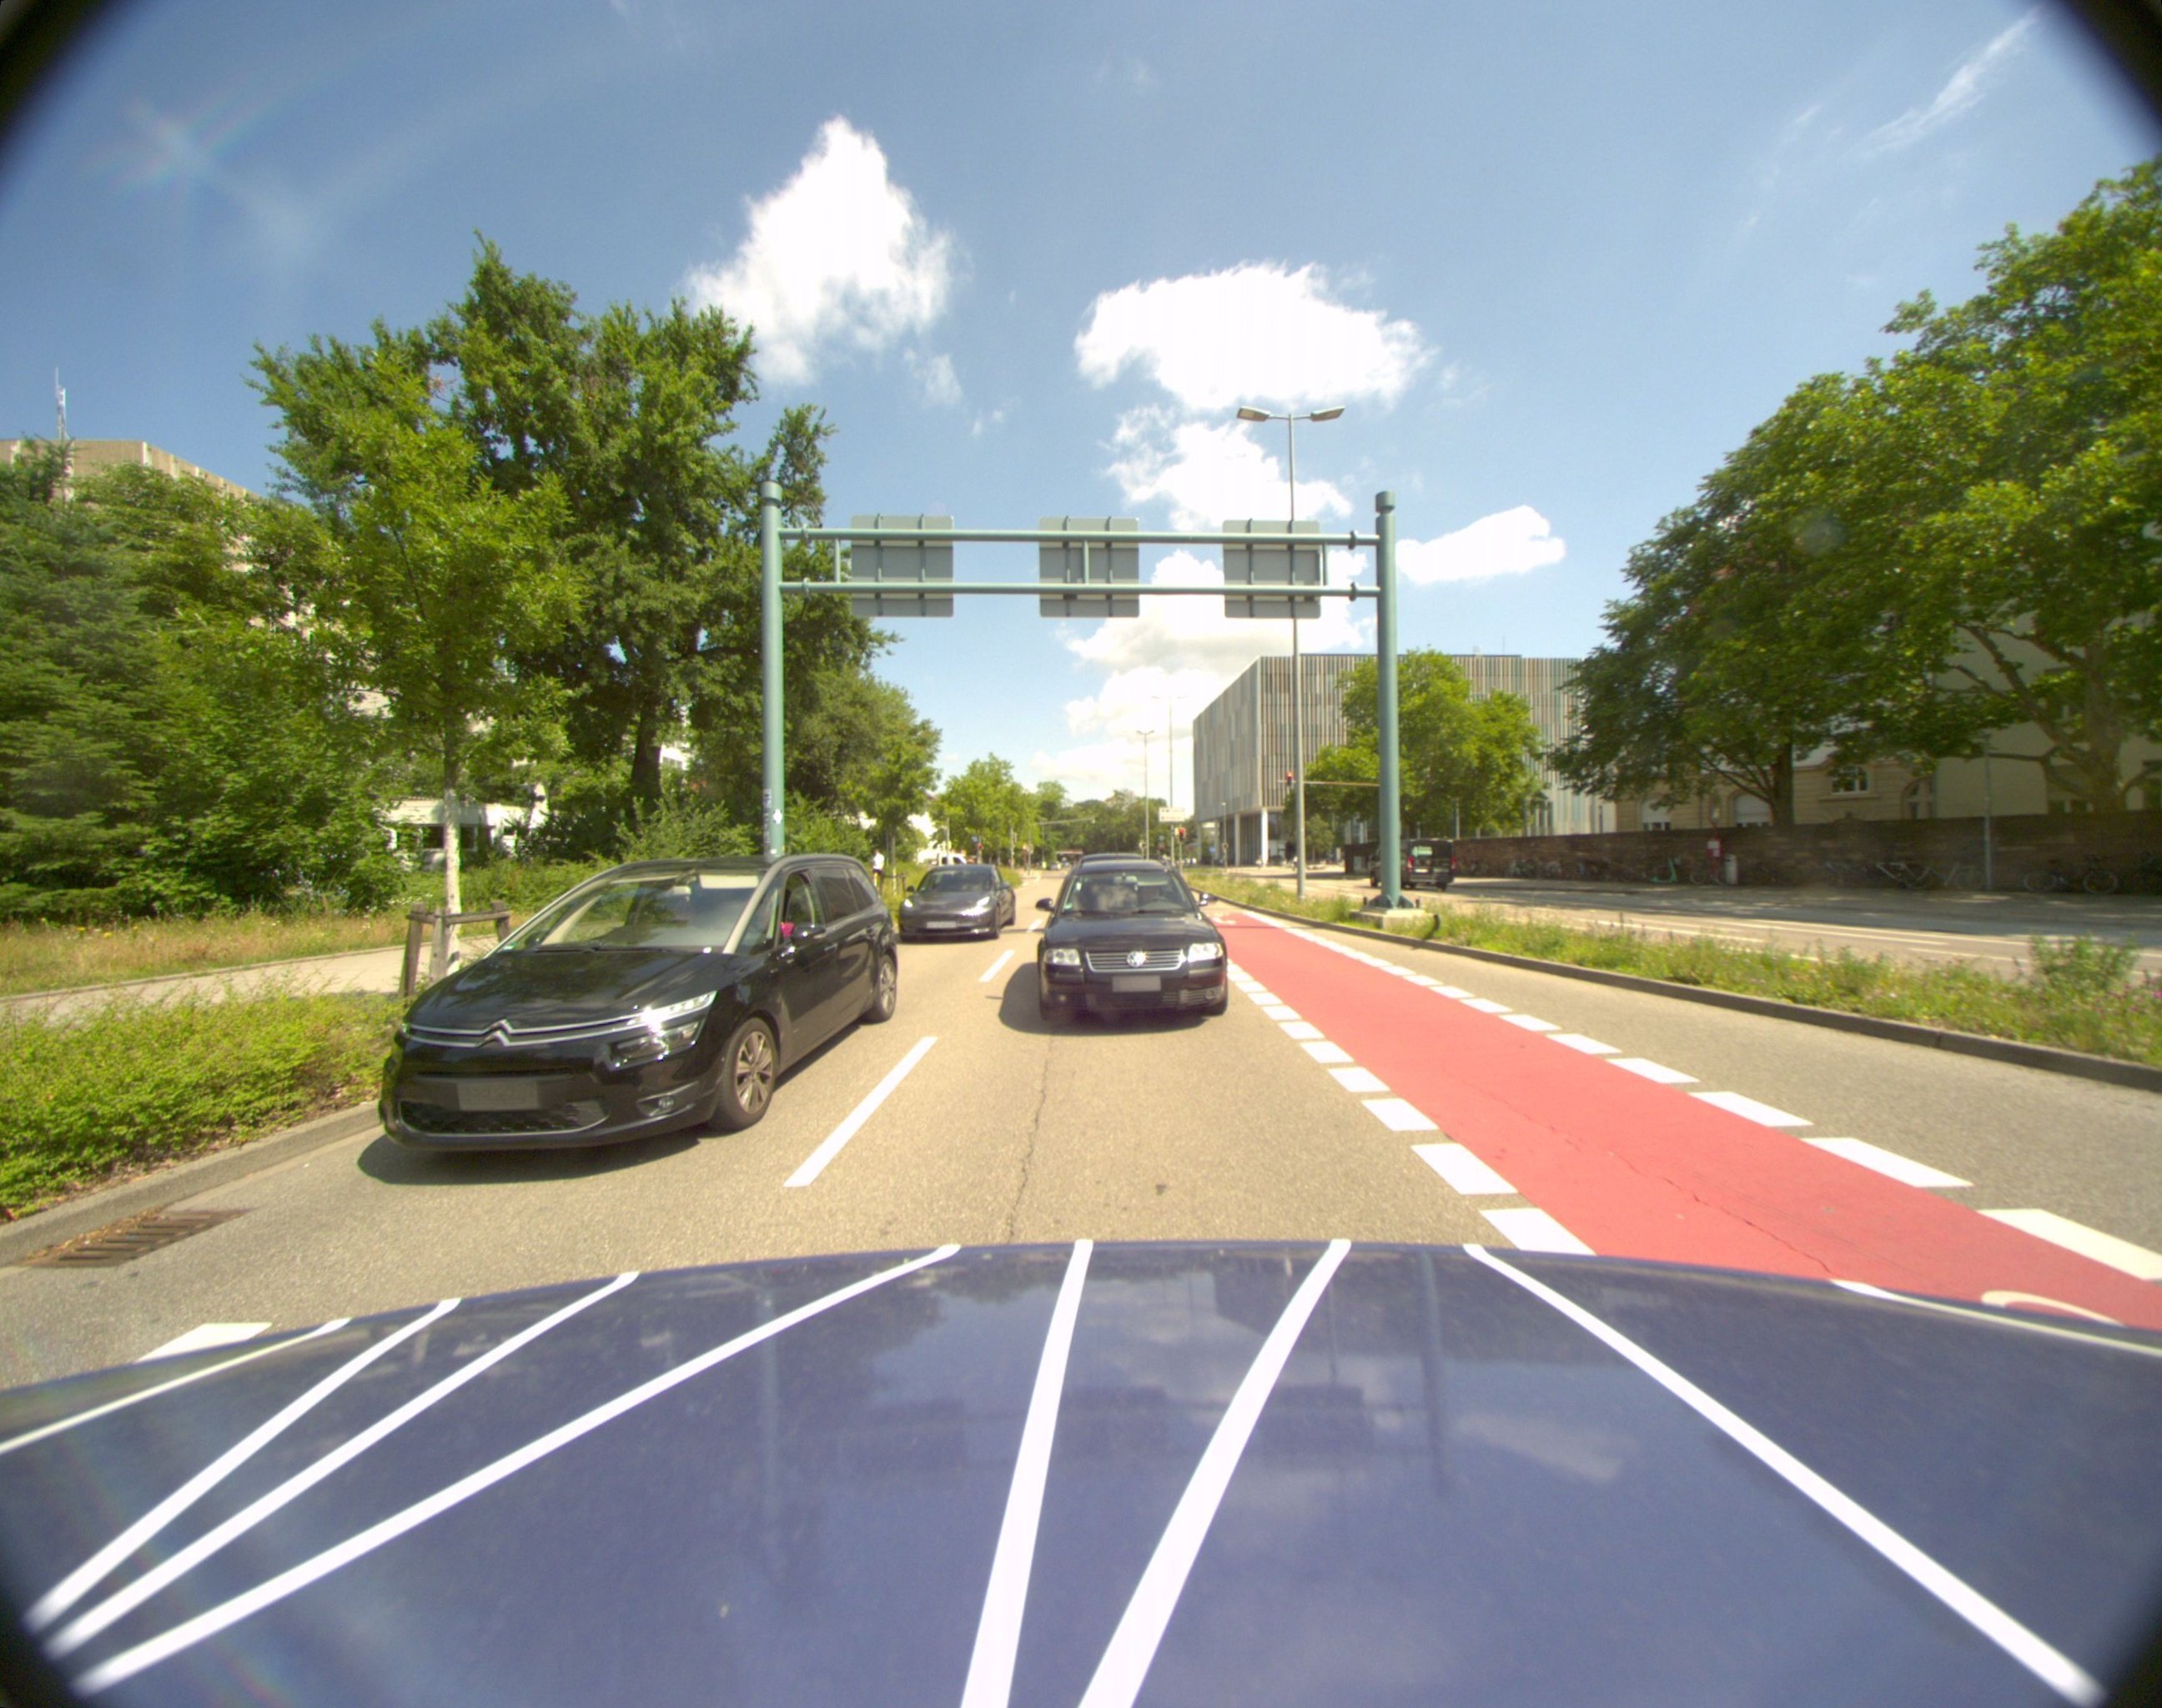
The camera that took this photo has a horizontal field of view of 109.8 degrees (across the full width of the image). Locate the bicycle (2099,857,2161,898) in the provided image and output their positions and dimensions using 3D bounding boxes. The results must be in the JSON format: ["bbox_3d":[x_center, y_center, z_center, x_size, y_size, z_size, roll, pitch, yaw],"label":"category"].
[{"bbox_3d":[27.104,0.586,19.121,0.398,0.997,1.759,-1,0,-13],"label":"bicycle"}]

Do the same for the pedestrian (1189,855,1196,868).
[{"bbox_3d":[16.914,1.088,115.386,0.715,1.906,0.807,-2,1,-5],"label":"pedestrian"}]

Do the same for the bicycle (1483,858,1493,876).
[{"bbox_3d":[22.836,0.717,42.626,0.329,1.012,1.673,-1,0,22],"label":"bicycle"}]

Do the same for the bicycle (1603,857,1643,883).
[{"bbox_3d":[24.127,0.696,33.866,0.383,1.101,1.669,-1,0,-10],"label":"bicycle"}]

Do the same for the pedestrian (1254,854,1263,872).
[{"bbox_3d":[19.898,1.013,85.199,0.715,1.906,0.807,-2,1,-5],"label":"pedestrian"}]

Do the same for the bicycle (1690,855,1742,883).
[{"bbox_3d":[24.714,0.567,29.597,0.383,1.037,1.668,-1,0,-11],"label":"bicycle"}]

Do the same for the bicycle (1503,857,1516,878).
[{"bbox_3d":[22.854,0.706,40.545,0.382,1.101,1.673,-1,0,22],"label":"bicycle"}]

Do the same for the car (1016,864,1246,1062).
[{"bbox_3d":[0.464,0.896,8.271,1.751,1.426,4.521,-3,0,2],"label":"car"}]

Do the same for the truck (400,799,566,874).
[{"bbox_3d":[-26.856,-0.747,34.627,2.098,3.005,7.122,-2,1,-3],"label":"truck"}]

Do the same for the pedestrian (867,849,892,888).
[{"bbox_3d":[-9.264,0.657,34.960,0.844,1.755,0.841,-2,1,1],"label":"pedestrian"}]

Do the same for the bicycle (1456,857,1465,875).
[{"bbox_3d":[22.488,0.695,45.003,0.329,1.012,1.673,-1,0,22],"label":"bicycle"}]

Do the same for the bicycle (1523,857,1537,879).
[{"bbox_3d":[23.208,0.707,39.288,0.382,1.101,1.673,-1,0,22],"label":"bicycle"}]

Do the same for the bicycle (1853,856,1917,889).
[{"bbox_3d":[25.844,0.572,24.437,0.377,1.037,1.415,-1,0,-13],"label":"bicycle"}]

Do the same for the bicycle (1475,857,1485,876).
[{"bbox_3d":[22.737,0.707,43.341,0.329,1.012,1.673,-1,0,22],"label":"bicycle"}]

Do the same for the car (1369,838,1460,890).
[{"bbox_3d":[14.841,0.429,34.099,2.214,2.158,4.521,0,0,2],"label":"car"}]

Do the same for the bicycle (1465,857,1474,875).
[{"bbox_3d":[22.613,0.699,44.271,0.329,1.012,1.673,-1,0,22],"label":"bicycle"}]

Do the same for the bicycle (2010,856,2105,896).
[{"bbox_3d":[26.707,0.577,20.810,0.398,1.037,1.582,-1,0,-13],"label":"bicycle"}]

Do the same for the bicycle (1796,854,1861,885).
[{"bbox_3d":[25.513,0.520,25.966,0.383,1.037,1.668,-1,0,-11],"label":"bicycle"}]

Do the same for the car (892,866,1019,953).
[{"bbox_3d":[-2.391,1.016,15.572,1.765,1.409,4.363,-3,0,0],"label":"car"}]

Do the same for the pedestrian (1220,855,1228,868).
[{"bbox_3d":[20.260,1.048,107.483,0.825,1.906,0.807,-2,1,-5],"label":"pedestrian"}]

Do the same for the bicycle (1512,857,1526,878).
[{"bbox_3d":[23.109,0.702,40.104,0.382,1.101,1.673,-1,0,22],"label":"bicycle"}]

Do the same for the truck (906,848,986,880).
[{"bbox_3d":[-11.029,0.818,62.286,5.808,2.287,2.465,-3,0,8],"label":"truck"}]

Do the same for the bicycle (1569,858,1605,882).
[{"bbox_3d":[23.882,0.727,35.883,0.382,1.101,1.669,-1,0,-8],"label":"bicycle"}]

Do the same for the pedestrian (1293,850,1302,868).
[{"bbox_3d":[22.577,0.521,79.330,0.632,1.907,0.718,-2,1,-2],"label":"pedestrian"}]

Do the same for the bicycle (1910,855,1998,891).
[{"bbox_3d":[26.213,0.547,22.849,0.398,1.037,1.759,-1,0,-13],"label":"bicycle"}]

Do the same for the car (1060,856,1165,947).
[{"bbox_3d":[0.614,0.829,15.441,1.751,1.495,4.521,-3,0,2],"label":"car"}]

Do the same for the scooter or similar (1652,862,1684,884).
[{"bbox_3d":[23.921,0.768,30.964,0.353,0.838,1.068,-1,0,-12],"label":"scooter or similar"}]

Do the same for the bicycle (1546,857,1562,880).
[{"bbox_3d":[23.431,0.713,37.668,0.382,1.101,1.673,-1,0,22],"label":"bicycle"}]

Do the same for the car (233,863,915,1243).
[{"bbox_3d":[-2.807,0.942,5.702,1.862,1.613,4.521,-3,0,3],"label":"car"}]

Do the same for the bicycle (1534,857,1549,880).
[{"bbox_3d":[23.302,0.710,38.425,0.382,1.101,1.673,-1,0,22],"label":"bicycle"}]

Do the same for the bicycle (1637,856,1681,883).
[{"bbox_3d":[24.436,0.660,32.147,0.383,1.101,1.668,-1,0,-11],"label":"bicycle"}]

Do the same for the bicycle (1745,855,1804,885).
[{"bbox_3d":[25.212,0.572,27.655,0.383,1.037,1.668,-1,0,-11],"label":"bicycle"}]
